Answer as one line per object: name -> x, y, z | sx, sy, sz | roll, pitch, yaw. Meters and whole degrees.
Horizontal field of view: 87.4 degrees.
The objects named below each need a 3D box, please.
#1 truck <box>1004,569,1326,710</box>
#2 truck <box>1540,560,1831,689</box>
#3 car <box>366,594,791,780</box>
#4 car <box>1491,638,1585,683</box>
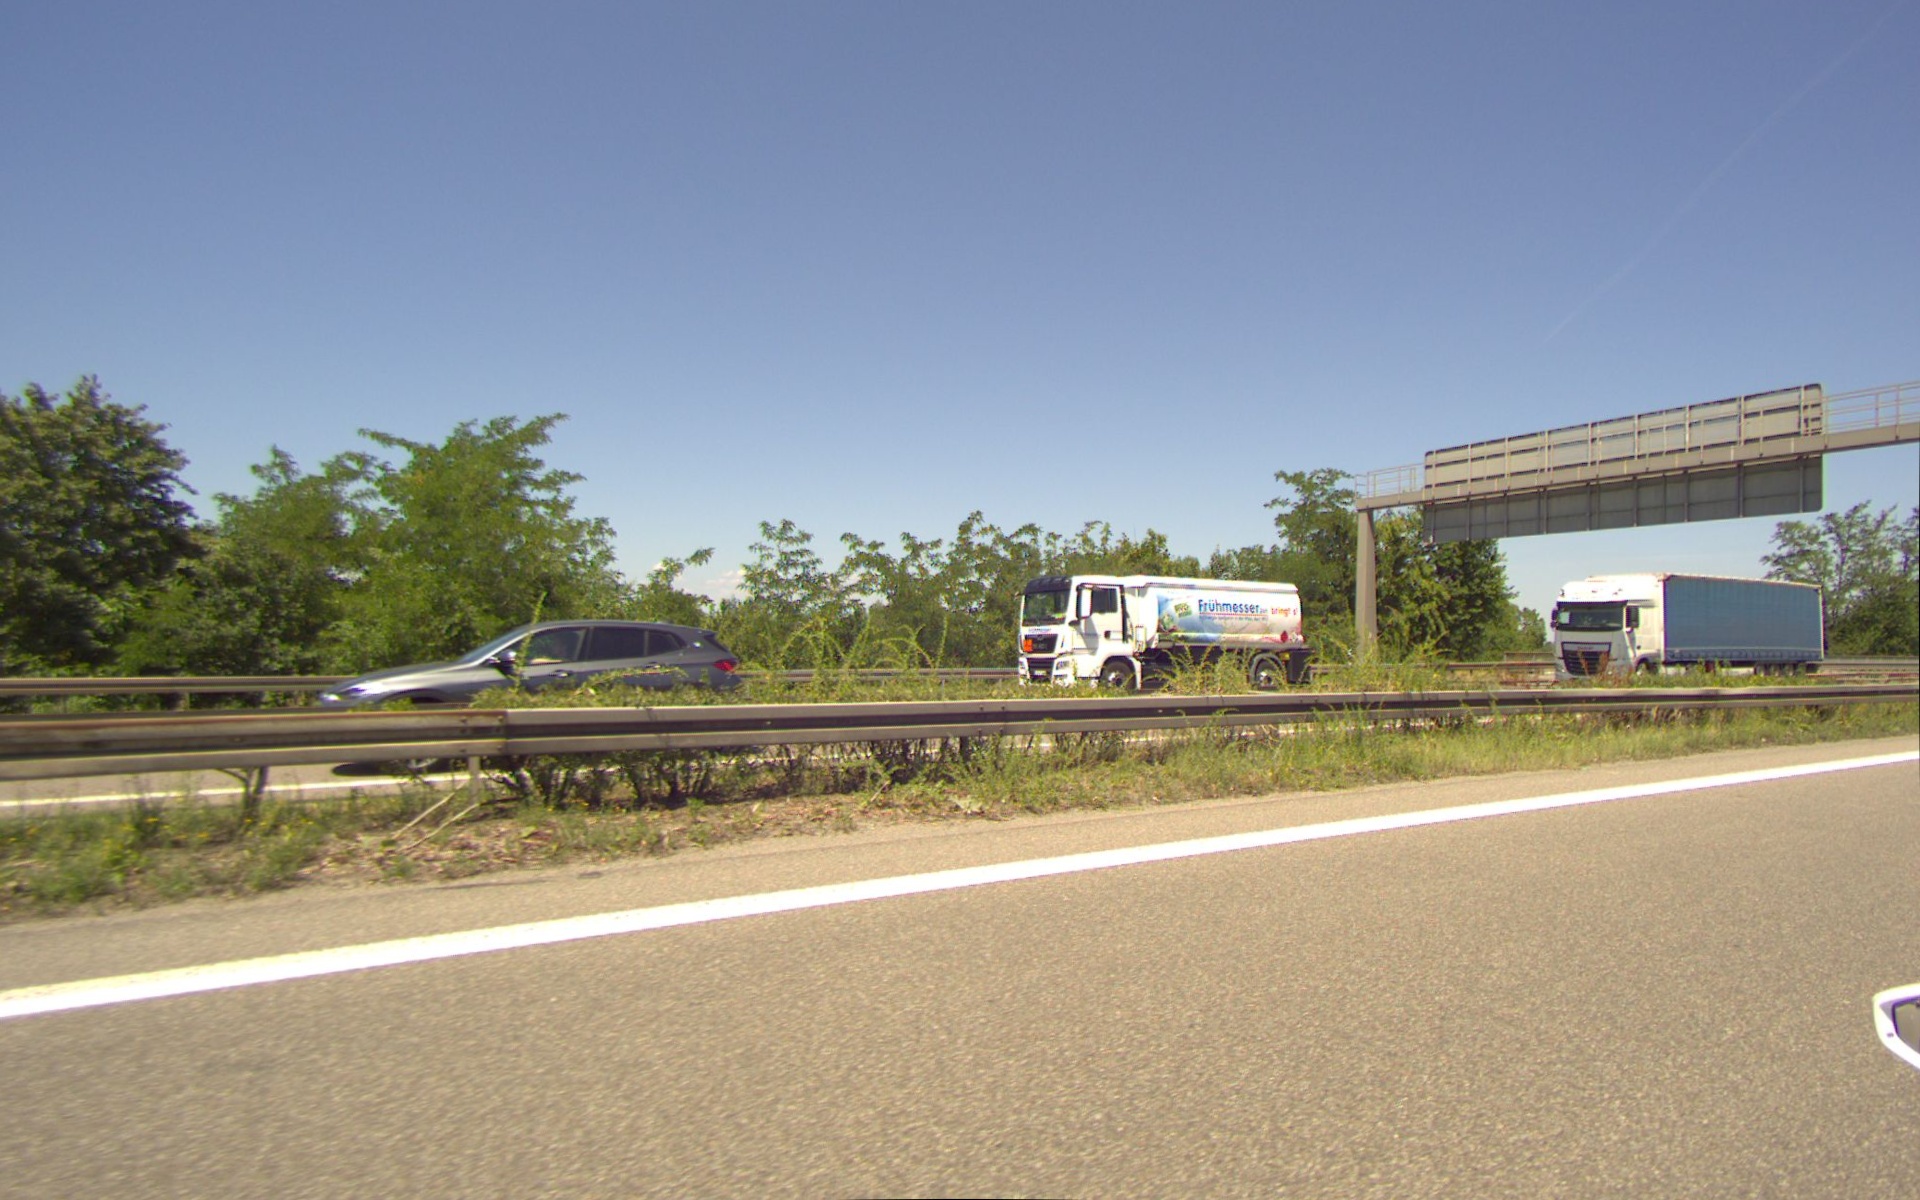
truck -> 5.609, 1.050, 26.585 | 8.820, 3.250, 2.699 | 2, -2, -30
truck -> 29.299, 1.095, 39.927 | 17.122, 4.447, 2.699 | 2, -2, -30
car -> -4.263, 0.896, 11.408 | 4.193, 1.757, 1.984 | 2, -2, -30
car -> 24.870, 2.572, 43.209 | 3.957, 1.839, 1.920 | 2, -2, -33
